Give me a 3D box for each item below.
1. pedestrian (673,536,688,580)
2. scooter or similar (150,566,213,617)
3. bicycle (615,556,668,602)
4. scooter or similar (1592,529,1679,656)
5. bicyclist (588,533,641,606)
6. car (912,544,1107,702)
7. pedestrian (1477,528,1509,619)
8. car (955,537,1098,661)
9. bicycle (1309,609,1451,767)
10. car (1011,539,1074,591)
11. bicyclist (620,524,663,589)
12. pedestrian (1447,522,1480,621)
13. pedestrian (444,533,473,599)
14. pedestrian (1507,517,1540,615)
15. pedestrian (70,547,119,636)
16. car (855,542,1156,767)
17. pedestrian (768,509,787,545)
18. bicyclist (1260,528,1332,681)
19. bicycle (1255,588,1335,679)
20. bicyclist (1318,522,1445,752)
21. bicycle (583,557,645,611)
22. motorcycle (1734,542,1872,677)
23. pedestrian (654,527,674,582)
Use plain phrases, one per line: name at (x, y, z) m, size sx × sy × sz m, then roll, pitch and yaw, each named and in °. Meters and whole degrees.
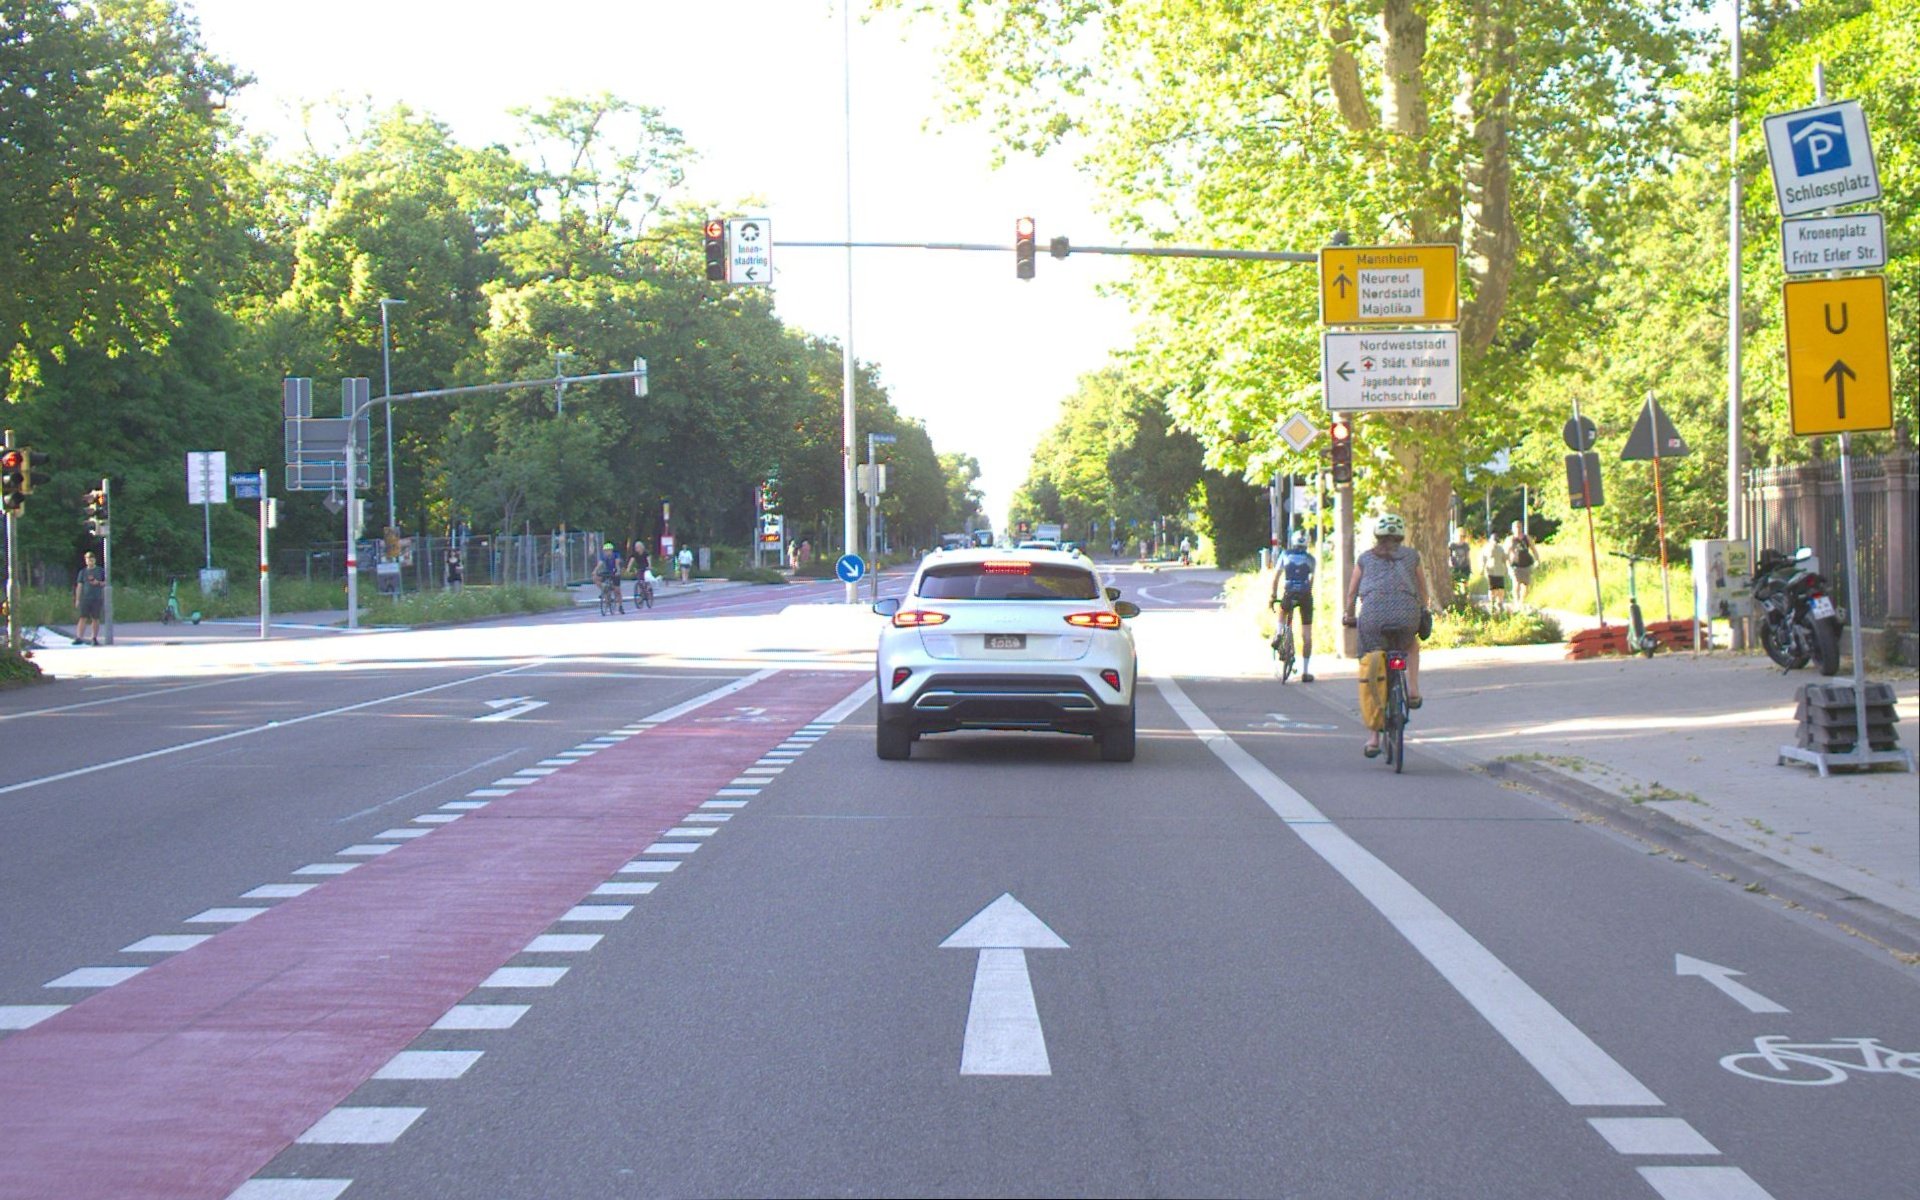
pedestrian at (-10.732, -1.612, 132.069) m, size 0.519 × 1.699 × 0.528 m, roll -2°, pitch 1°, yaw -3°
scooter or similar at (-18.224, -0.210, 80.515) m, size 0.511 × 1.140 × 1.699 m, roll -1°, pitch 1°, yaw 22°
bicycle at (-8.514, -0.573, 92.037) m, size 0.964 × 1.177 × 2.951 m, roll -2°, pitch 1°, yaw 3°
scooter or similar at (7.589, -0.097, 38.685) m, size 0.566 × 1.378 × 1.856 m, roll -2°, pitch 1°, yaw -1°
bicyclist at (-8.476, -0.745, 84.432) m, size 1.092 × 1.748 × 1.097 m, roll -2°, pitch 1°, yaw 3°
car at (0.514, 0.198, 36.798) m, size 1.929 × 1.528 × 4.000 m, roll -2°, pitch 1°, yaw 0°
pedestrian at (9.890, -0.487, 63.809) m, size 0.482 × 1.634 × 0.432 m, roll -4°, pitch 4°, yaw 7°
car at (0.903, -0.048, 47.816) m, size 1.851 × 1.586 × 4.000 m, roll -2°, pitch 1°, yaw 0°
bicycle at (2.860, 0.582, 23.559) m, size 0.753 × 1.022 × 1.869 m, roll 0°, pitch 0°, yaw 0°
car at (2.652, -1.125, 109.357) m, size 1.737 × 1.541 × 4.000 m, roll -1°, pitch 1°, yaw 5°
bicyclist at (-8.534, -1.173, 92.097) m, size 0.955 × 1.699 × 1.232 m, roll -2°, pitch 1°, yaw 2°
pedestrian at (9.341, -0.528, 63.778) m, size 0.482 × 1.786 × 0.432 m, roll -4°, pitch 4°, yaw 7°
pedestrian at (-14.669, -0.999, 100.526) m, size 0.651 × 1.881 × 0.662 m, roll -2°, pitch 1°, yaw 3°
pedestrian at (10.557, -0.633, 64.463) m, size 0.482 × 1.786 × 0.432 m, roll -4°, pitch 4°, yaw 7°
pedestrian at (-17.988, -0.190, 71.443) m, size 0.687 × 1.786 × 0.769 m, roll -4°, pitch 2°, yaw 1°
car at (0.325, 0.336, 25.215) m, size 1.993 × 1.448 × 4.000 m, roll -2°, pitch 1°, yaw 1°
pedestrian at (-11.248, -4.504, 212.242) m, size 0.876 × 2.142 × 1.103 m, roll -2°, pitch 1°, yaw 10°
bicyclist at (3.870, 0.048, 39.685) m, size 0.749 × 1.744 × 0.843 m, roll 0°, pitch 1°, yaw 0°
bicycle at (3.870, 0.374, 39.847) m, size 0.753 × 1.022 × 1.869 m, roll 0°, pitch 0°, yaw 0°
bicyclist at (2.868, 0.238, 23.459) m, size 0.747 × 1.532 × 0.969 m, roll -1°, pitch 1°, yaw 0°
bicycle at (-8.476, -0.392, 84.328) m, size 1.102 × 1.250 × 2.779 m, roll -2°, pitch 1°, yaw 3°
motorcycle at (7.802, 0.068, 31.905) m, size 0.662 × 1.163 × 2.327 m, roll -4°, pitch 1°, yaw 1°
pedestrian at (-11.112, -1.708, 128.995) m, size 0.656 × 2.007 × 0.832 m, roll -2°, pitch 1°, yaw -1°
